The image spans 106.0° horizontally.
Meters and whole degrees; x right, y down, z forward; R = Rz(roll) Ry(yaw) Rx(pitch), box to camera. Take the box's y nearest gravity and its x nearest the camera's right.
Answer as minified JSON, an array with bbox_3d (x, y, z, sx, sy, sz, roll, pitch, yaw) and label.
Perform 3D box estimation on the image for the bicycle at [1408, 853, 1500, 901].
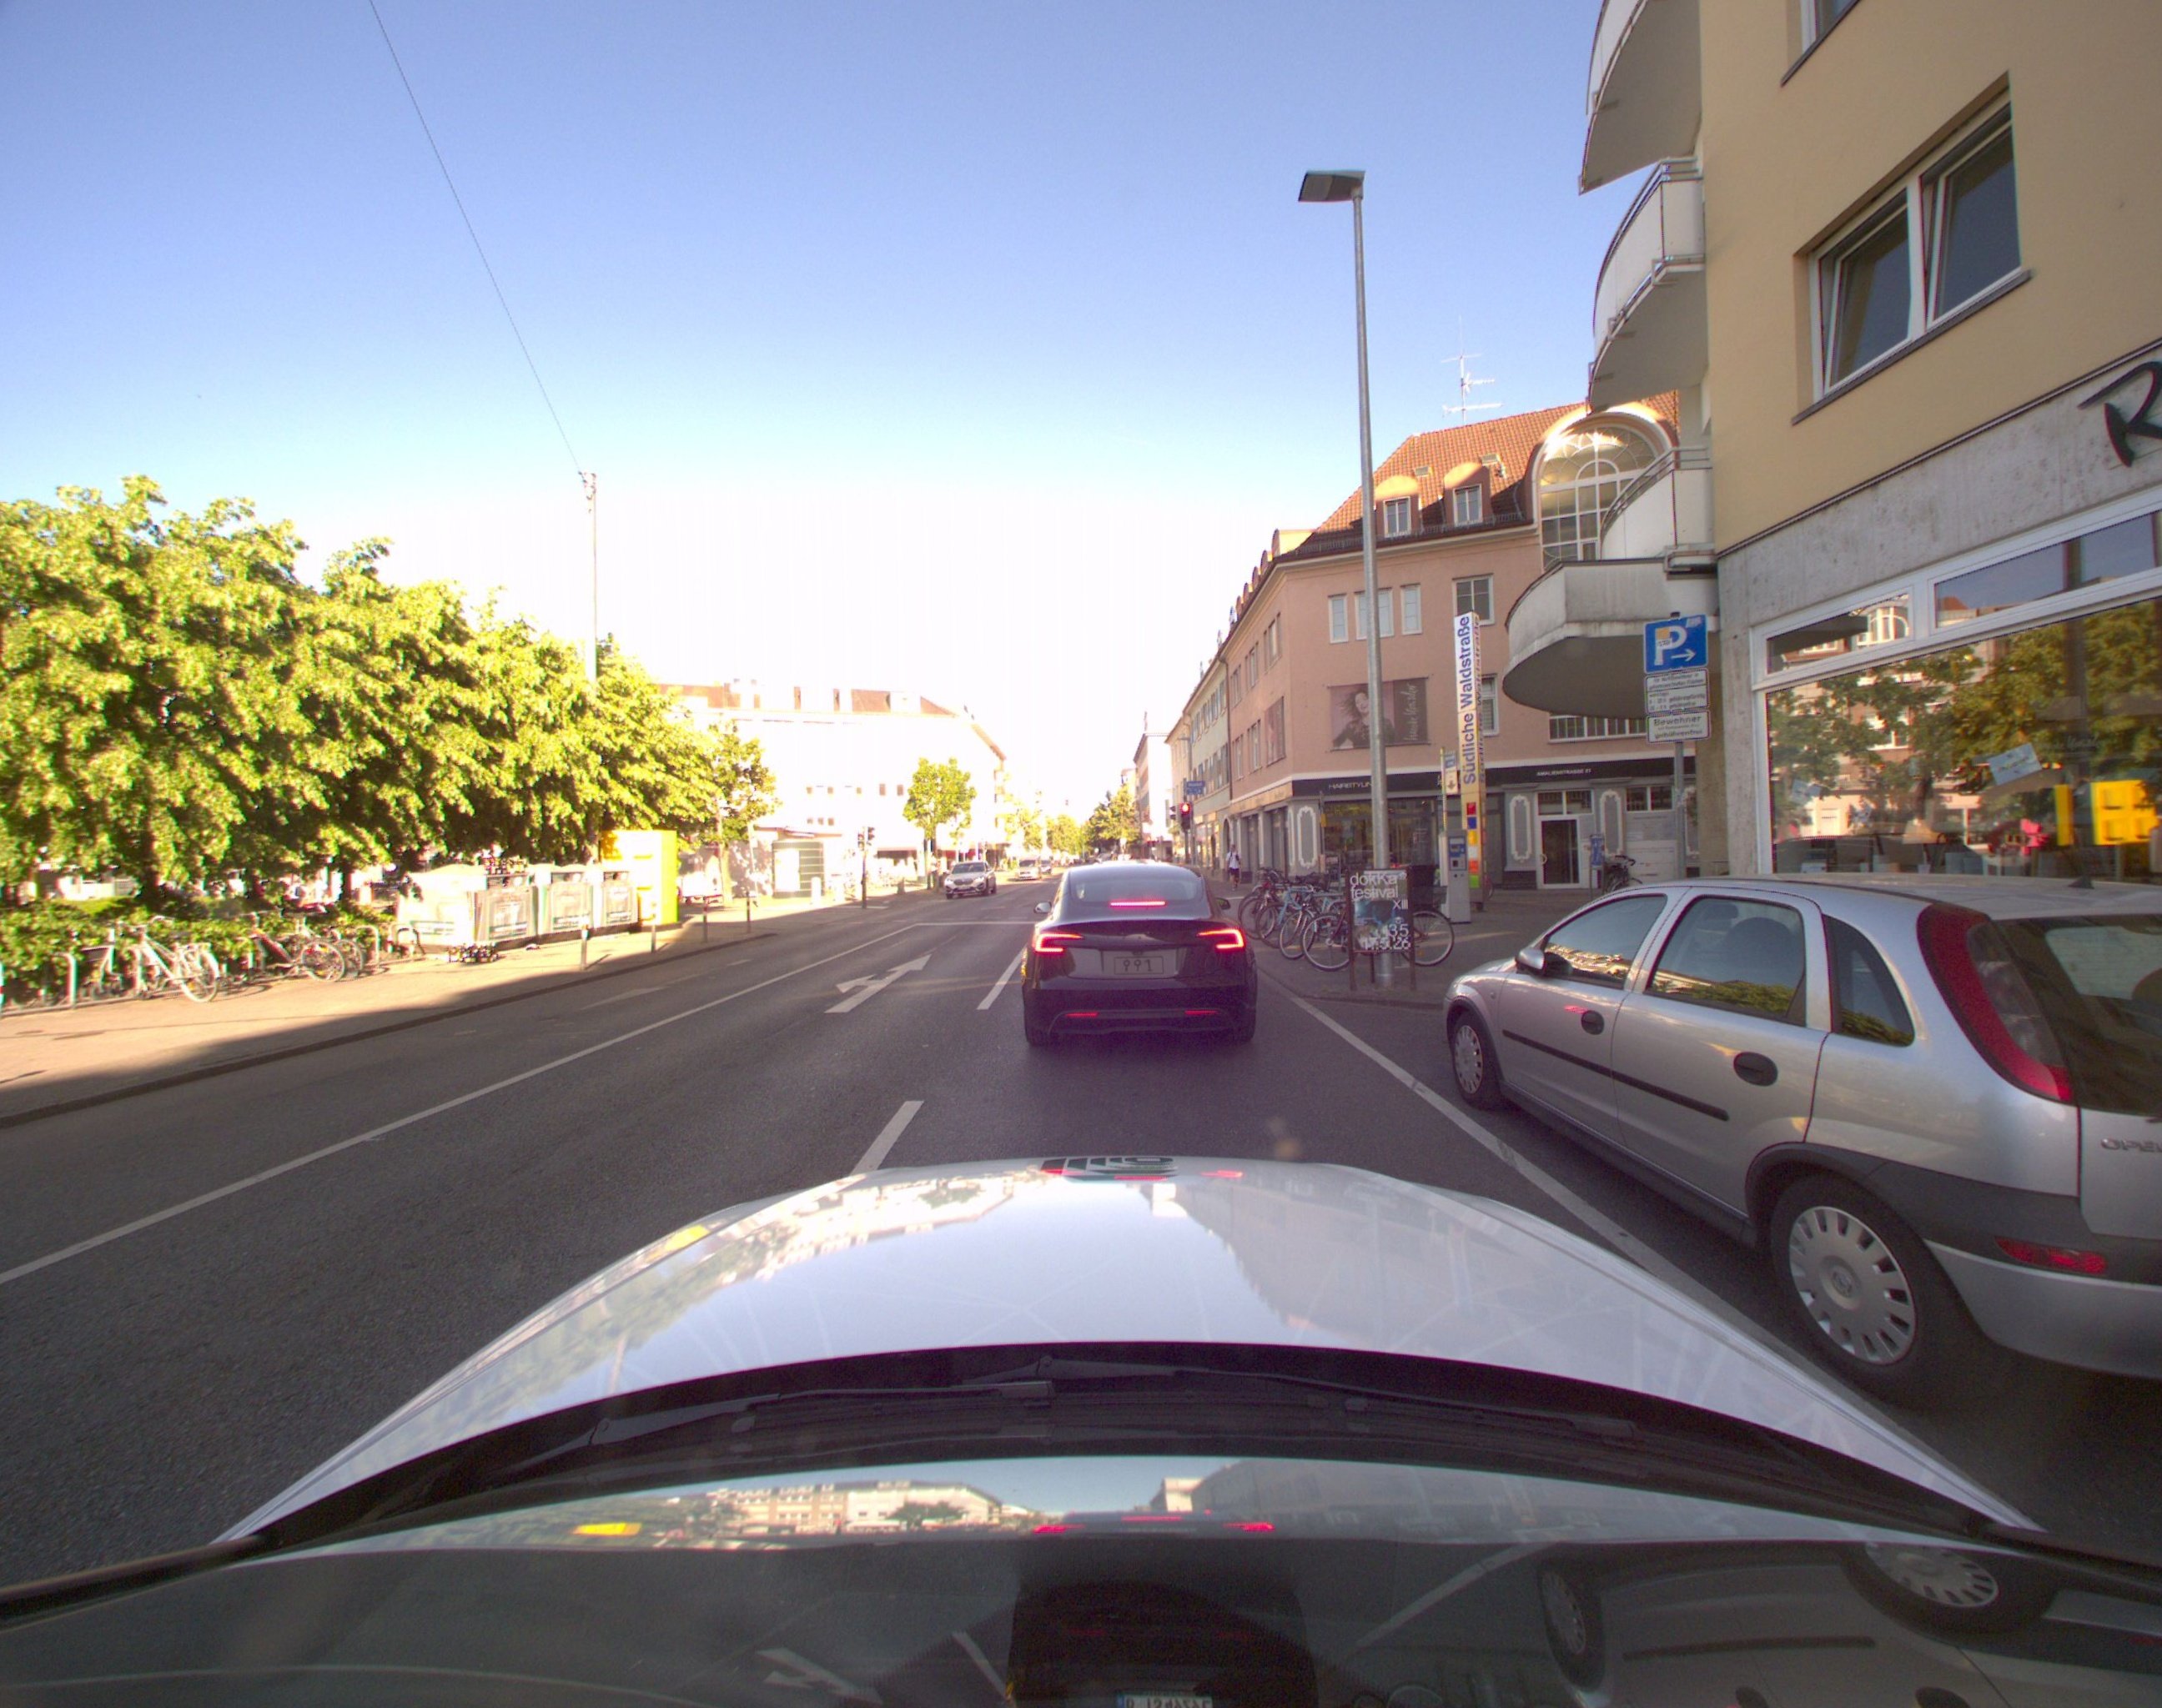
[{"bbox_3d":[9.101,0.555,19.931,1.920,1.118,0.711,-1,-1,14],"label":"bicycle"}]

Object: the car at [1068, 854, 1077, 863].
[{"bbox_3d":[-1.945,0.975,186.747,1.986,2.013,4.001,-1,0,2],"label":"car"}]

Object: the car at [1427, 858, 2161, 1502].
[{"bbox_3d":[2.949,0.730,3.521,1.540,1.390,3.479,-1,-1,3],"label":"car"}]

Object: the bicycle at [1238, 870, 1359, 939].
[{"bbox_3d":[3.620,0.835,13.674,1.863,1.038,0.548,-3,-1,7],"label":"bicycle"}]

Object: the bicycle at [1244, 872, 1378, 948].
[{"bbox_3d":[3.495,0.848,12.475,1.864,1.038,0.534,-3,-1,5],"label":"bicycle"}]

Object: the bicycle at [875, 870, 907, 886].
[{"bbox_3d":[-12.264,1.542,52.633,1.857,0.934,0.606,-1,0,0],"label":"bicycle"}]

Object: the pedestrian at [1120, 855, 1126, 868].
[{"bbox_3d":[4.919,0.882,95.795,0.474,1.417,0.517,0,-1,-29],"label":"pedestrian"}]

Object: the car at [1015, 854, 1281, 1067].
[{"bbox_3d":[0.528,0.758,7.667,1.816,1.442,4.001,-1,-1,2],"label":"car"}]

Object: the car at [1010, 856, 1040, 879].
[{"bbox_3d":[-4.226,0.997,61.876,1.780,1.646,4.404,-1,0,2],"label":"car"}]

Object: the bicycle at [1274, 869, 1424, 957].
[{"bbox_3d":[3.656,0.803,11.202,1.864,1.087,0.415,-3,-1,5],"label":"bicycle"}]

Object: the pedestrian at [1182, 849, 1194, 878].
[{"bbox_3d":[6.609,0.577,50.295,0.704,1.742,0.540,-1,0,1],"label":"pedestrian"}]

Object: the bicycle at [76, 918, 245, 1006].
[{"bbox_3d":[-11.617,1.339,10.284,1.919,1.015,0.518,-1,-1,12],"label":"bicycle"}]

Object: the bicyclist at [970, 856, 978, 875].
[{"bbox_3d":[-8.746,0.938,66.481,0.525,1.503,0.473,0,-1,-22],"label":"bicyclist"}]

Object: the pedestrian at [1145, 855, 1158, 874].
[{"bbox_3d":[5.992,0.910,69.306,0.756,1.631,0.951,0,-1,-16],"label":"pedestrian"}]

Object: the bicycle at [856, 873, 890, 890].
[{"bbox_3d":[-12.183,1.613,47.717,1.857,0.934,0.606,0,-1,0],"label":"bicycle"}]

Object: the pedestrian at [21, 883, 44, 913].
[{"bbox_3d":[-78.058,3.286,60.610,0.891,2.171,0.882,-1,-1,26],"label":"pedestrian"}]

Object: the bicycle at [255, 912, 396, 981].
[{"bbox_3d":[-11.315,1.371,12.207,1.888,0.955,0.518,-1,-1,11],"label":"bicycle"}]

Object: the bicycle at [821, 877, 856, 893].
[{"bbox_3d":[-12.835,1.631,43.086,1.640,0.792,0.606,0,-1,-3],"label":"bicycle"}]

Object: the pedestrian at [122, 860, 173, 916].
[{"bbox_3d":[-34.083,1.240,29.735,0.890,2.014,0.893,-1,0,15],"label":"pedestrian"}]

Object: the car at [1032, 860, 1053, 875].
[{"bbox_3d":[-3.636,1.287,78.310,1.709,1.446,3.846,0,-1,2],"label":"car"}]

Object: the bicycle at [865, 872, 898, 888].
[{"bbox_3d":[-12.308,1.604,50.196,1.857,0.934,0.606,0,-1,0],"label":"bicycle"}]

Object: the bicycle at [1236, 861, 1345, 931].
[{"bbox_3d":[3.783,0.757,14.795,1.818,1.169,0.507,-3,-1,7],"label":"bicycle"}]

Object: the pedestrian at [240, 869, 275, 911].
[{"bbox_3d":[-34.147,1.479,33.775,0.754,1.698,0.793,-1,0,25],"label":"pedestrian"}]

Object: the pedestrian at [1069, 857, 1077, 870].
[{"bbox_3d":[-1.039,1.285,109.269,0.719,1.695,0.843,-1,0,-26],"label":"pedestrian"}]

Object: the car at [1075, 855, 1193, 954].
[{"bbox_3d":[0.800,0.746,13.939,1.712,1.425,3.757,-1,0,0],"label":"car"}]

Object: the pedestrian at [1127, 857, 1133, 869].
[{"bbox_3d":[5.708,1.069,95.166,0.524,1.422,0.475,0,-1,-28],"label":"pedestrian"}]

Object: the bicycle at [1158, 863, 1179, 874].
[{"bbox_3d":[7.673,1.270,71.351,1.787,1.007,0.469,0,-1,-15],"label":"bicycle"}]

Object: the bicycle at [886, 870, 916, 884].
[{"bbox_3d":[-12.184,1.561,55.081,1.857,0.934,0.606,-1,0,0],"label":"bicycle"}]

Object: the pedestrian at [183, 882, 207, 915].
[{"bbox_3d":[-48.858,2.441,44.897,0.842,1.717,0.761,-2,-1,35],"label":"pedestrian"}]

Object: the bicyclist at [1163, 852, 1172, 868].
[{"bbox_3d":[7.615,0.520,71.345,0.670,1.395,0.460,0,-1,-14],"label":"bicyclist"}]

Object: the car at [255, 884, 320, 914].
[{"bbox_3d":[-39.420,2.204,40.453,3.526,1.386,1.703,-1,0,36],"label":"car"}]

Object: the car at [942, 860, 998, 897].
[{"bbox_3d":[-4.883,1.044,36.379,1.782,1.460,3.759,-4,-1,2],"label":"car"}]

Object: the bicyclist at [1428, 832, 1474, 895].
[{"bbox_3d":[9.047,0.232,19.955,0.884,1.482,0.704,-1,-1,14],"label":"bicyclist"}]

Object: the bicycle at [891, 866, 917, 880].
[{"bbox_3d":[-17.089,1.815,78.490,2.373,1.296,0.509,0,-1,-25],"label":"bicycle"}]

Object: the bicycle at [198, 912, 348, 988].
[{"bbox_3d":[-11.541,1.353,11.642,1.913,1.003,0.518,-1,-1,11],"label":"bicycle"}]

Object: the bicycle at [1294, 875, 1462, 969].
[{"bbox_3d":[3.620,0.835,10.014,1.862,1.038,0.354,-3,-1,8],"label":"bicycle"}]

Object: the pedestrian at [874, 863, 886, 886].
[{"bbox_3d":[-18.068,1.825,73.194,1.060,2.014,1.049,0,-1,-18],"label":"pedestrian"}]

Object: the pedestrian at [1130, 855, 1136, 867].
[{"bbox_3d":[6.123,0.813,95.867,0.524,1.422,0.475,0,-1,-28],"label":"pedestrian"}]

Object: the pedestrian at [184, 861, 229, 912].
[{"bbox_3d":[-35.396,1.295,32.961,0.890,2.013,0.893,-1,0,15],"label":"pedestrian"}]

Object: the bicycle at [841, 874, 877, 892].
[{"bbox_3d":[-12.438,1.611,45.659,1.857,0.934,0.606,-1,0,0],"label":"bicycle"}]

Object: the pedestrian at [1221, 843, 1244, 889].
[{"bbox_3d":[5.958,0.464,32.058,0.747,1.765,0.838,-3,-1,6],"label":"pedestrian"}]
